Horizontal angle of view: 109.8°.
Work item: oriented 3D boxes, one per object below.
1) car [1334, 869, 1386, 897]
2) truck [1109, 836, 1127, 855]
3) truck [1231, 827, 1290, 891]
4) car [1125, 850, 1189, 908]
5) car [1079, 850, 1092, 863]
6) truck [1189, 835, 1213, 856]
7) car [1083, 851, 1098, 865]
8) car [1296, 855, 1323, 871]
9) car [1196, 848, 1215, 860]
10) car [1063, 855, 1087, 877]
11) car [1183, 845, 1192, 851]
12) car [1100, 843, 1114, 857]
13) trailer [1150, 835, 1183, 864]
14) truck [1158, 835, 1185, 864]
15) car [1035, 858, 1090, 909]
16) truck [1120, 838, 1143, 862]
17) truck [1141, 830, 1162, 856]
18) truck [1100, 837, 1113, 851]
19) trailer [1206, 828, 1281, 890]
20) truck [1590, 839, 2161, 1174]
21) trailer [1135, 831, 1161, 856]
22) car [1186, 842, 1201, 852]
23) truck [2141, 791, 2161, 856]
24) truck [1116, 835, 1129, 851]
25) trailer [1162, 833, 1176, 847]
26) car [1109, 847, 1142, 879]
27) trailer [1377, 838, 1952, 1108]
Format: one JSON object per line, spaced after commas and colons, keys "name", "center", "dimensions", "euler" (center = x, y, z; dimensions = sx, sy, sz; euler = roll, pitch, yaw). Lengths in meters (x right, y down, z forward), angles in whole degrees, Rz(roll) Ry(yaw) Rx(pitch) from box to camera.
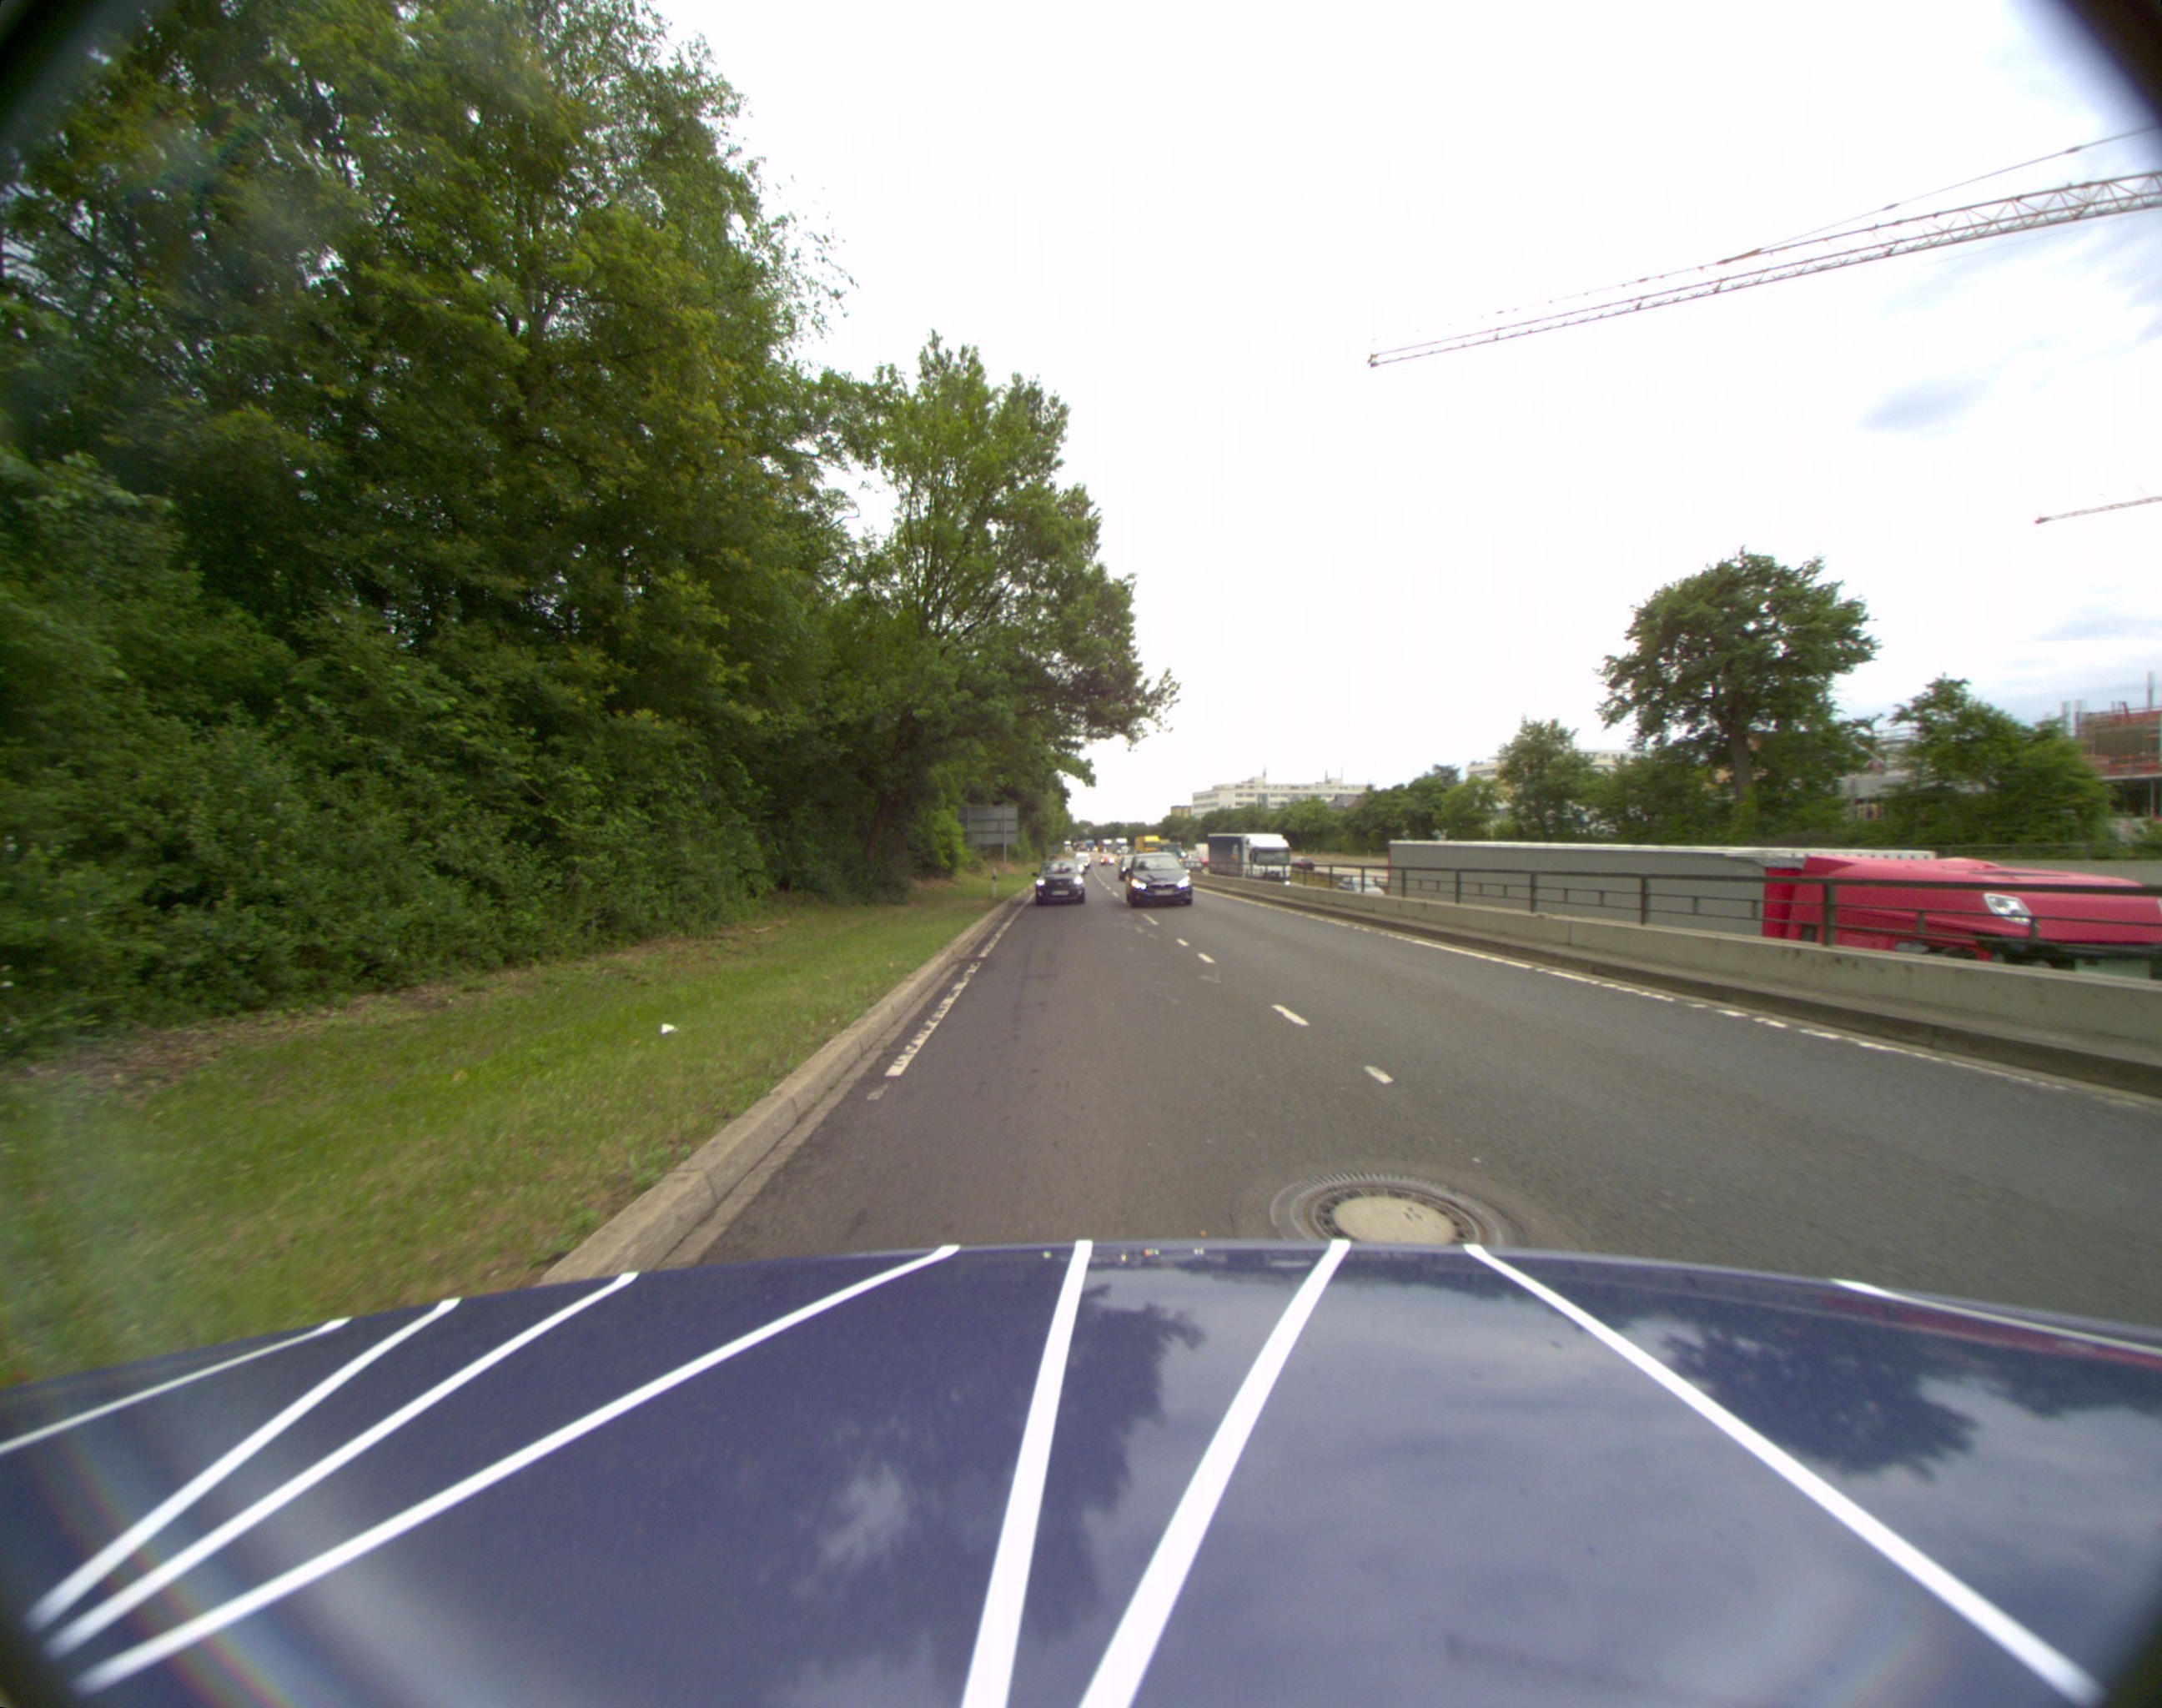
{"name": "car", "center": [16.689, 1.728, 45.611], "dimensions": [1.628, 1.433, 3.895], "euler": [0, 1, -2]}
{"name": "truck", "center": [6.780, -1.602, 140.569], "dimensions": [2.956, 3.167, 13.778], "euler": [-1, 1, 2]}
{"name": "truck", "center": [11.899, 0.296, 50.892], "dimensions": [2.531, 4.014, 6.095], "euler": [-1, 1, 0]}
{"name": "car", "center": [2.323, 0.704, 24.104], "dimensions": [1.784, 1.555, 4.422], "euler": [-2, 1, 3]}
{"name": "car", "center": [0.547, 0.308, 93.957], "dimensions": [1.628, 1.433, 3.999], "euler": [-2, 1, 0]}
{"name": "truck", "center": [24.048, -1.812, 152.970], "dimensions": [2.956, 4.013, 13.777], "euler": [-1, 1, 1]}
{"name": "car", "center": [1.012, 0.431, 83.489], "dimensions": [1.628, 1.433, 3.999], "euler": [-2, 1, 0]}
{"name": "car", "center": [23.475, 0.909, 78.118], "dimensions": [1.627, 1.433, 3.896], "euler": [0, 1, 1]}
{"name": "car", "center": [15.861, 0.019, 96.888], "dimensions": [1.628, 1.433, 3.999], "euler": [-2, 1, 0]}
{"name": "car", "center": [-0.432, 0.863, 56.561], "dimensions": [1.628, 1.433, 3.999], "euler": [-2, 1, 0]}
{"name": "car", "center": [23.976, -1.363, 171.496], "dimensions": [1.627, 1.433, 3.896], "euler": [0, 1, 1]}
{"name": "car", "center": [3.538, -0.544, 103.309], "dimensions": [1.769, 1.786, 4.577], "euler": [-2, 1, 0]}
{"name": "trailer", "center": [11.678, -0.723, 105.248], "dimensions": [2.614, 3.620, 16.746], "euler": [-1, 1, 0]}
{"name": "truck", "center": [11.661, -0.599, 98.590], "dimensions": [2.645, 3.615, 6.666], "euler": [-1, 1, 0]}
{"name": "car", "center": [-0.562, 0.921, 25.535], "dimensions": [1.628, 1.433, 3.999], "euler": [-2, 1, 0]}
{"name": "truck", "center": [6.631, -0.565, 101.730], "dimensions": [2.524, 2.961, 13.778], "euler": [-1, 1, 2]}
{"name": "truck", "center": [12.094, -1.817, 130.403], "dimensions": [2.893, 4.319, 6.518], "euler": [-1, 1, 0]}
{"name": "truck", "center": [7.969, -3.204, 241.621], "dimensions": [2.532, 4.013, 13.770], "euler": [-1, 1, -5]}
{"name": "trailer", "center": [11.918, 0.207, 57.494], "dimensions": [2.531, 4.013, 14.781], "euler": [-1, 1, 0]}
{"name": "truck", "center": [11.685, 1.796, 12.259], "dimensions": [2.712, 4.014, 6.201], "euler": [-1, 1, -1]}
{"name": "trailer", "center": [12.146, -1.940, 139.464], "dimensions": [2.898, 4.329, 19.918], "euler": [-1, 1, 0]}
{"name": "car", "center": [17.557, -1.066, 118.571], "dimensions": [1.628, 1.433, 3.999], "euler": [-2, 1, 0]}
{"name": "truck", "center": [49.382, -1.351, 31.537], "dimensions": [2.019, 2.970, 7.103], "euler": [-2, 1, 12]}
{"name": "truck", "center": [11.249, -3.020, 205.302], "dimensions": [2.956, 4.013, 13.777], "euler": [-1, 1, 1]}
{"name": "trailer", "center": [26.665, -4.222, 231.463], "dimensions": [2.531, 4.013, 13.774], "euler": [-1, 1, 0]}
{"name": "car", "center": [2.777, 0.518, 47.934], "dimensions": [1.769, 1.786, 4.577], "euler": [-2, 1, 0]}
{"name": "trailer", "center": [11.551, 1.671, 18.635], "dimensions": [2.658, 4.013, 14.550], "euler": [-1, 1, -1]}
